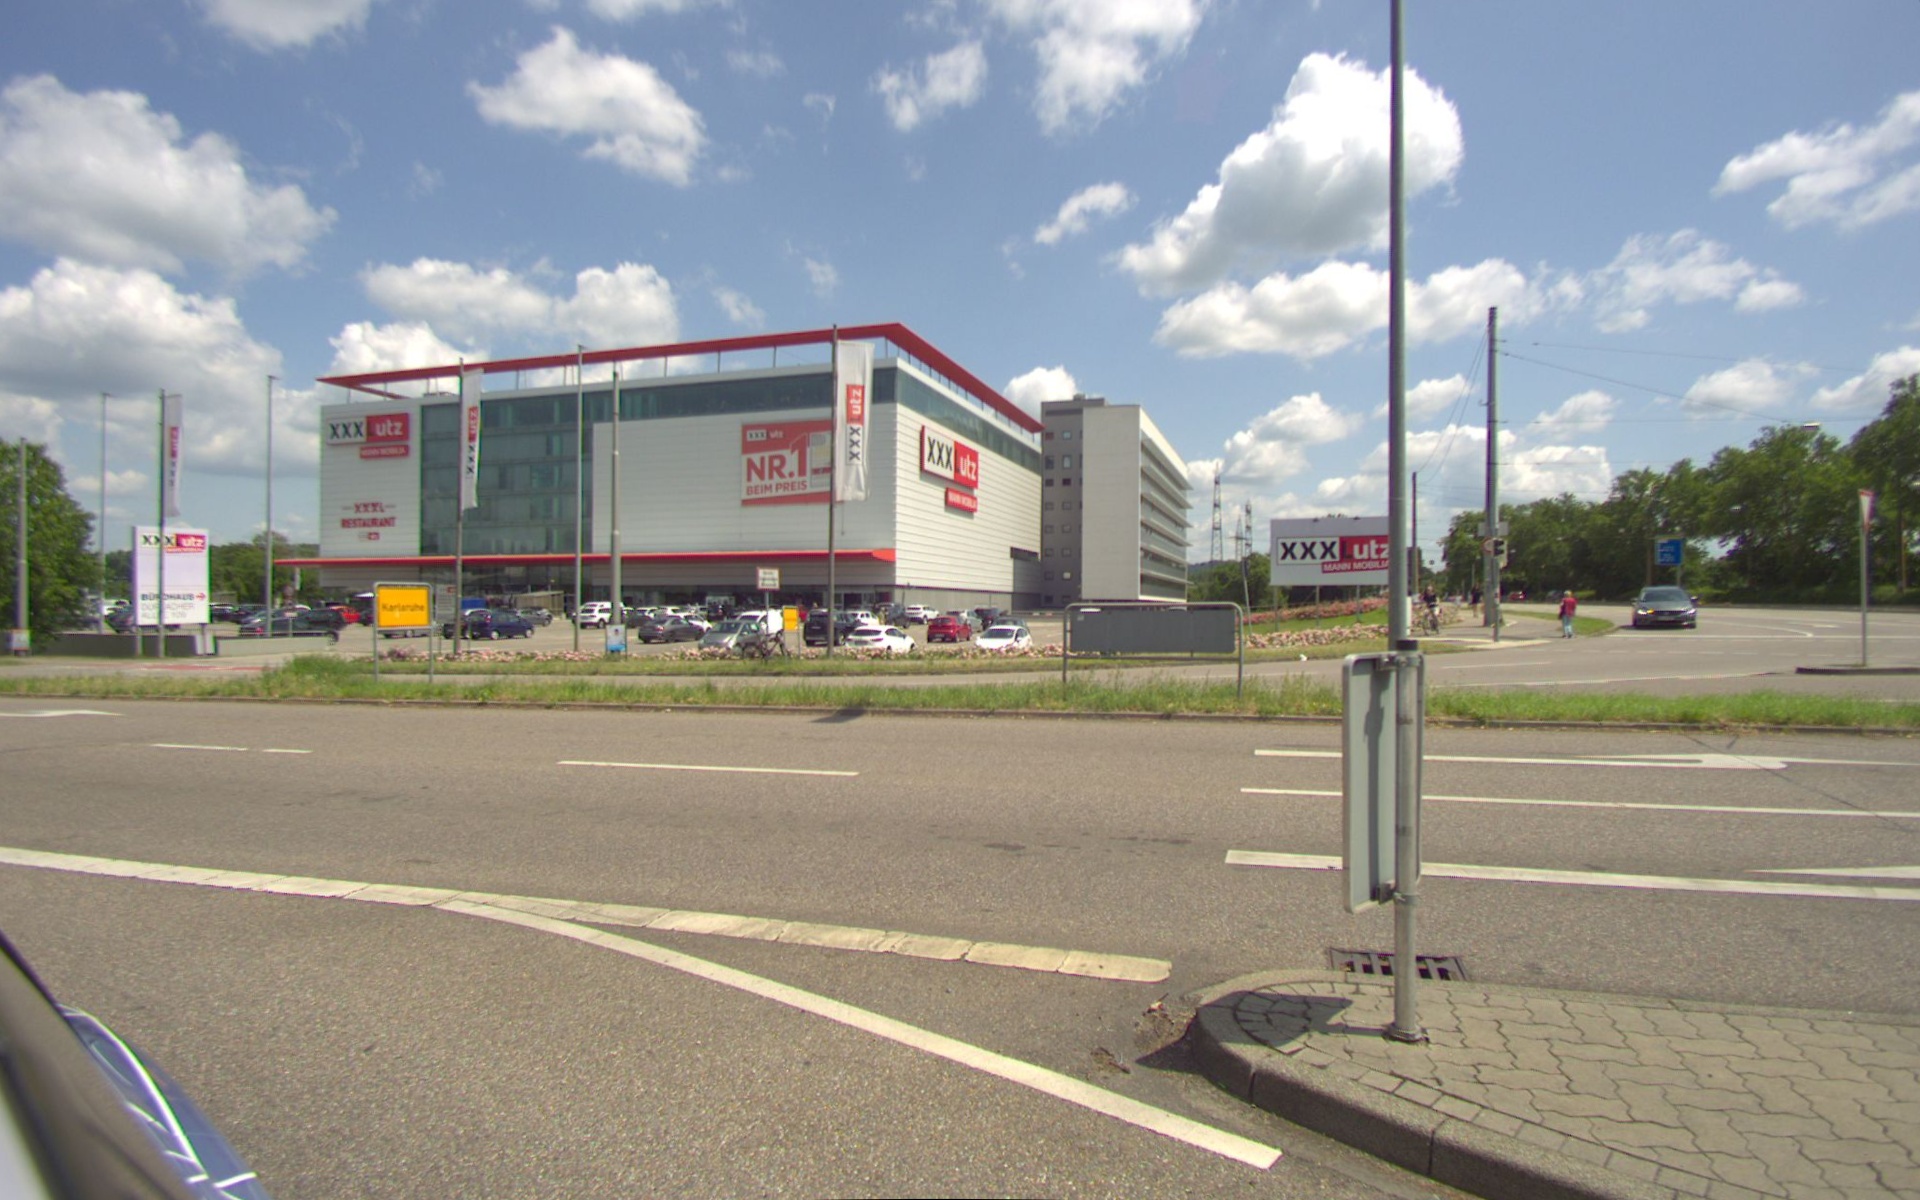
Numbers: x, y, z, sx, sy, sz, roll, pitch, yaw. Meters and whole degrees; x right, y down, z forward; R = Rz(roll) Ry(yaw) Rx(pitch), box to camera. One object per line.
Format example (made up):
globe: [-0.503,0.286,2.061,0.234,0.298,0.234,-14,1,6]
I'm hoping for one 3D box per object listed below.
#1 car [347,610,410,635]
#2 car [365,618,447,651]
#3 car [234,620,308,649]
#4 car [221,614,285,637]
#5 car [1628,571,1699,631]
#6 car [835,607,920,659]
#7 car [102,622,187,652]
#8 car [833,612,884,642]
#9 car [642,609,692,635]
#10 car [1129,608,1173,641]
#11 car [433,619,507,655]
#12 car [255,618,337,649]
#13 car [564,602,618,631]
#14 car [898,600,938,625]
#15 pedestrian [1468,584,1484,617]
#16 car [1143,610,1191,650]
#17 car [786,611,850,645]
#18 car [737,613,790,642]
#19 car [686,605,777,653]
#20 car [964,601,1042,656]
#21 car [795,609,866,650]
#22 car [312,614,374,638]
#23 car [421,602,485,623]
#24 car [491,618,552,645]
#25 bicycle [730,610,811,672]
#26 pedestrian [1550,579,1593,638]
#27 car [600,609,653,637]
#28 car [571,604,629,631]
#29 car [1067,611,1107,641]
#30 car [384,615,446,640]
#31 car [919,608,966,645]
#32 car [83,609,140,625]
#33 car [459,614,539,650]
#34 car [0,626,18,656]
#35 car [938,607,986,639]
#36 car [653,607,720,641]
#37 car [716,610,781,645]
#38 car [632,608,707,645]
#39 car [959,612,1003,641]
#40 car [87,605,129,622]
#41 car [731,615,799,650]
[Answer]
car: [-48.460,1.861,84.401,1.983,2.004,4.337,-1,-1,18]
car: [-34.543,2.108,63.195,1.983,2.004,4.337,-1,-1,18]
car: [-51.302,2.551,75.454,1.975,2.058,4.275,-1,-1,18]
car: [-62.087,2.250,88.923,1.983,2.004,4.337,-1,-1,18]
car: [25.486,0.076,36.707,1.995,2.029,3.953,-2,-2,35]
car: [-3.297,1.319,41.209,1.983,2.004,4.337,-1,-1,18]
car: [-57.782,2.609,71.793,1.983,2.004,4.337,-2,-2,18]
car: [-6.908,1.832,69.299,1.983,2.004,4.062,-1,-1,18]
car: [-23.394,1.775,80.946,1.984,2.029,3.976,-1,-1,18]
car: [12.072,1.535,63.750,2.231,2.004,4.337,-1,-1,18]
car: [-29.976,2.234,62.060,1.827,2.004,4.062,0,0,17]
car: [-44.144,2.195,67.399,1.983,2.004,4.337,-1,-1,18]
car: [-30.572,1.395,83.926,1.854,2.324,4.544,-1,-1,18]
car: [-3.503,1.070,84.622,1.985,2.004,4.059,-1,-1,20]
pedestrian: [32.421,0.021,63.622,0.774,2.029,0.560,-2,-2,40]
car: [10.791,1.521,52.459,1.983,2.004,4.337,-1,-1,18]
car: [-8.114,1.610,58.341,1.983,1.896,4.337,-1,-1,18]
car: [-14.003,1.969,72.308,1.983,2.004,4.062,-1,-1,18]
car: [-9.901,1.244,44.232,1.983,2.004,4.337,-1,-1,18]
car: [1.759,1.105,39.890,1.985,2.029,3.973,-1,-1,20]
car: [-6.794,1.515,53.453,1.983,2.004,4.570,0,0,18]
car: [-53.040,2.242,87.088,1.983,2.004,4.337,-1,-1,18]
car: [-44.590,1.155,89.159,2.180,1.792,5.104,-1,-2,17]
car: [-34.485,2.464,79.744,1.985,2.004,4.334,-1,-2,19]
bicycle: [-5.321,1.148,28.464,2.032,1.688,1.014,-1,-2,19]
pedestrian: [19.724,0.270,32.658,0.853,1.851,0.800,-1,1,-10]
car: [-25.050,1.698,76.137,1.763,2.029,3.976,-1,-1,18]
car: [-27.386,1.336,77.141,1.983,2.004,4.337,-1,-1,18]
car: [8.815,1.791,69.814,1.983,2.004,4.337,-1,-1,18]
car: [-44.404,2.214,82.593,1.983,2.004,4.337,-1,-1,18]
car: [-0.940,1.493,57.261,1.976,2.004,5.298,0,-1,6]
car: [-80.819,1.630,96.441,1.843,1.481,3.806,-1,-2,21]
car: [-27.771,1.912,61.082,1.983,2.004,4.337,-1,0,18]
car: [-76.469,3.232,78.700,1.983,2.347,4.337,-1,-1,18]
car: [0.182,1.527,67.395,1.983,2.004,4.601,-1,-1,17]
car: [-16.866,1.484,62.627,1.984,2.004,4.337,1,-1,18]
car: [-12.562,1.598,60.400,1.983,2.004,4.337,-1,-1,18]
car: [-16.169,1.453,56.614,1.983,2.004,4.337,-1,-1,18]
car: [1.533,1.914,72.724,1.983,2.004,4.337,-1,-1,18]
car: [-94.544,1.507,112.336,3.801,1.847,1.845,-1,-2,18]
car: [-10.969,1.806,57.278,1.983,1.853,4.337,-1,-1,18]
